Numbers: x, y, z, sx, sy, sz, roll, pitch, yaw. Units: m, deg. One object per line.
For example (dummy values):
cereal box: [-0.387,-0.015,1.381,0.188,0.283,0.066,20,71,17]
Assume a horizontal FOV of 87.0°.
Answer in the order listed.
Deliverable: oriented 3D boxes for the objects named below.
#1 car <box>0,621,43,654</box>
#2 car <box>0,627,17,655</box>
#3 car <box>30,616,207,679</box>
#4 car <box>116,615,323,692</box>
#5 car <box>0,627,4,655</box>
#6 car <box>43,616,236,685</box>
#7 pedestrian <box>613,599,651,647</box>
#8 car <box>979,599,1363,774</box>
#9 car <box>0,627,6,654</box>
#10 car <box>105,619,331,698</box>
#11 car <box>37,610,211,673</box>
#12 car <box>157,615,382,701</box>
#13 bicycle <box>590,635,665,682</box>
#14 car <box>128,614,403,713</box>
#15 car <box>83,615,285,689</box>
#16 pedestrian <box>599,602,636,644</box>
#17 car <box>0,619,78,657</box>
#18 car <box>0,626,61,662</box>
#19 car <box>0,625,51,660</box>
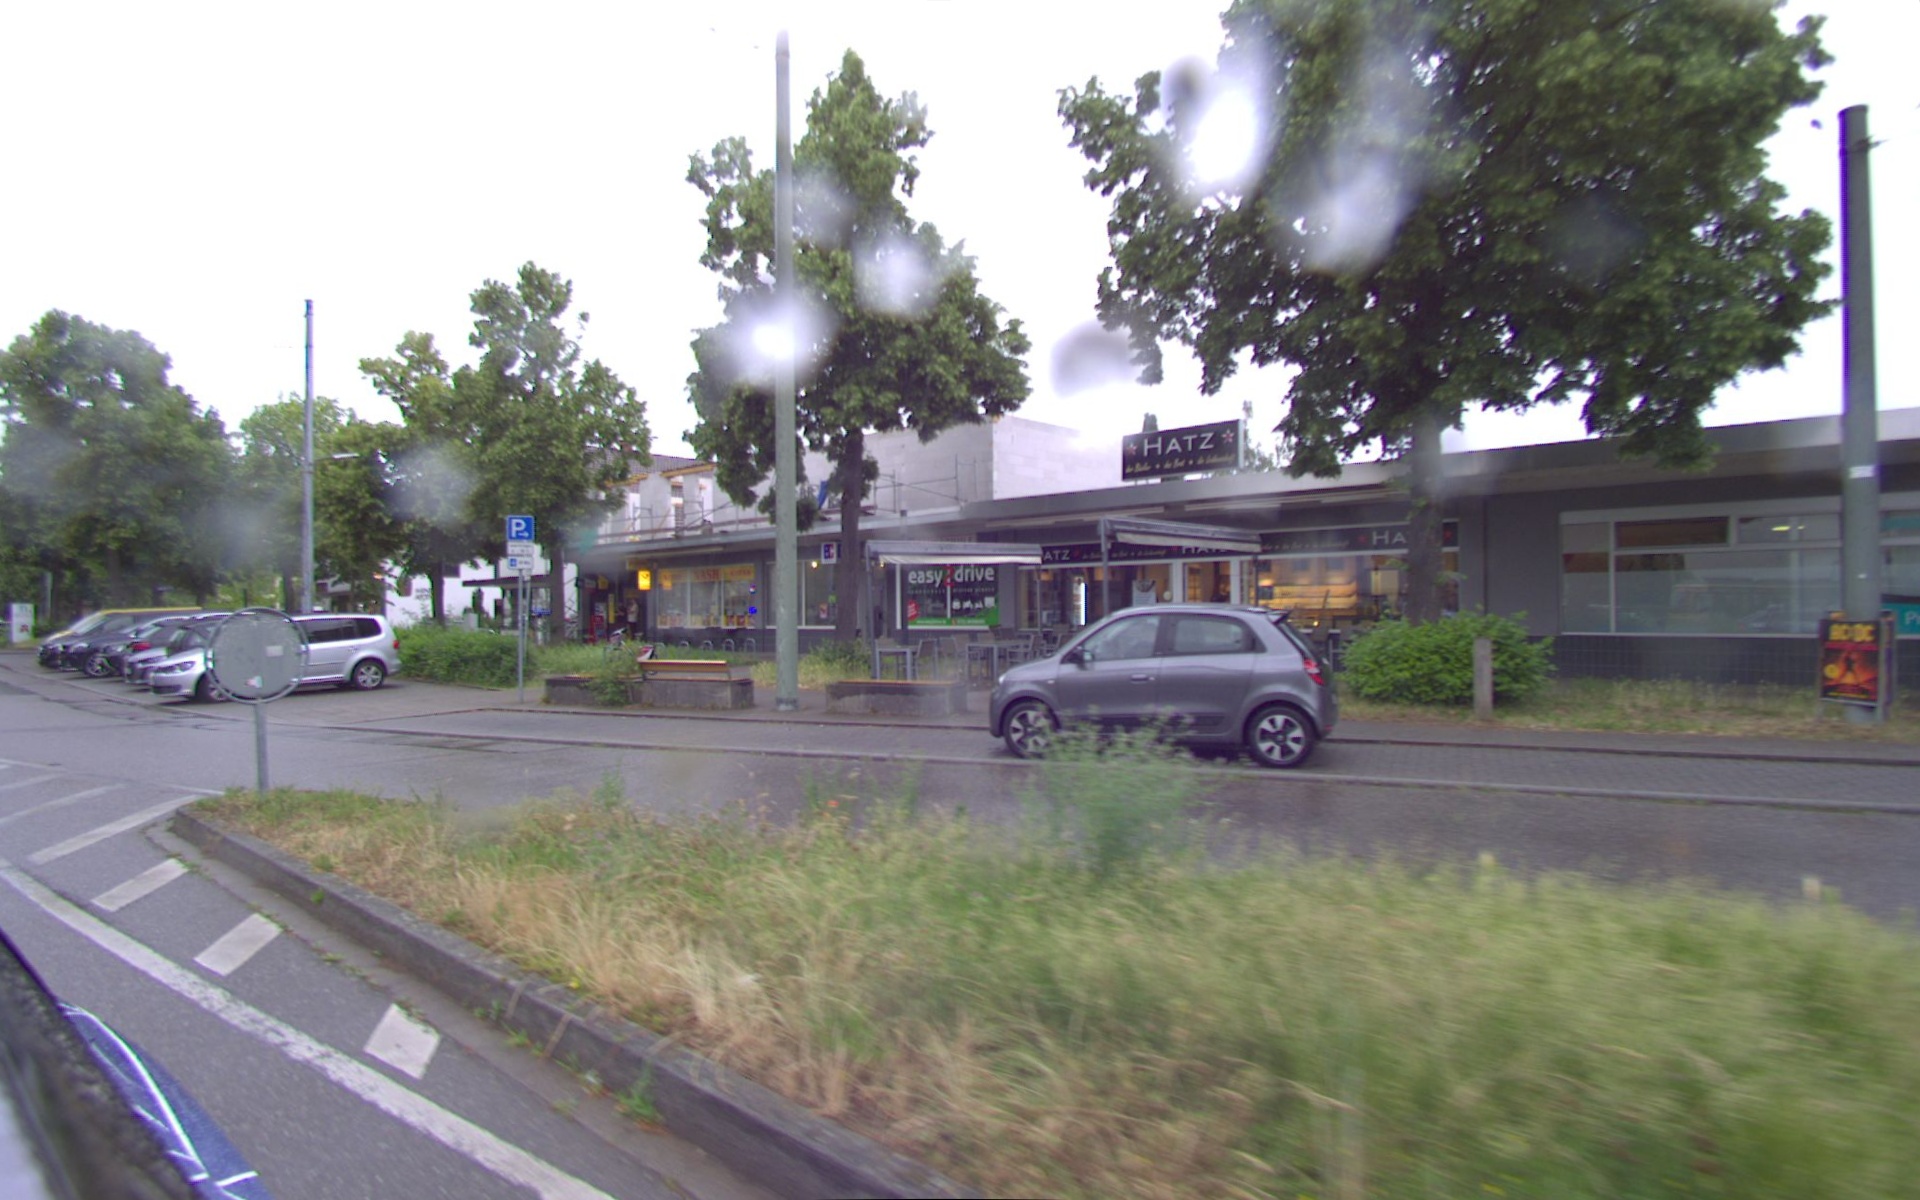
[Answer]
car: [-60.757,2.389,63.569,1.897,1.958,4.489,-2,0,40]
car: [-68.470,2.909,70.012,1.897,1.958,4.489,-2,0,40]
car: [-27.818,1.526,33.562,1.897,1.823,4.248,-2,0,40]
car: [-19.264,1.341,26.463,1.897,1.722,4.037,-2,0,40]
car: [-70.702,2.981,71.437,1.897,1.958,4.489,-2,0,40]
car: [-23.584,1.405,29.188,1.897,1.722,4.037,-2,0,40]
pedestrian: [-12.171,0.850,37.553,1.063,1.727,0.950,0,-1,-38]
car: [2.166,0.815,10.410,3.601,1.514,1.540,-2,1,24]
car: [-72.693,3.036,73.663,1.897,1.958,4.489,-2,0,40]
car: [-17.781,1.341,24.397,1.998,1.583,4.037,-2,0,40]
car: [-29.665,1.420,36.025,1.897,1.958,4.489,-2,0,40]
car: [-15.644,1.249,23.079,1.792,1.686,3.895,-2,0,40]
bicycle: [-7.829,1.371,23.817,1.740,1.080,0.589,-1,-2,24]
car: [-14.173,1.220,20.850,1.998,1.686,4.280,-2,0,40]
car: [-21.045,1.348,27.563,1.897,1.722,4.037,-2,0,40]
pedestrian: [-13.074,0.871,38.616,1.063,1.596,0.950,0,-1,-38]
car: [-52.853,2.161,57.034,1.897,1.958,4.489,-2,0,40]
car: [-55.637,2.606,59.090,1.897,1.958,4.489,-2,0,40]
car: [-57.355,2.588,60.340,1.897,1.958,4.489,-2,0,40]
